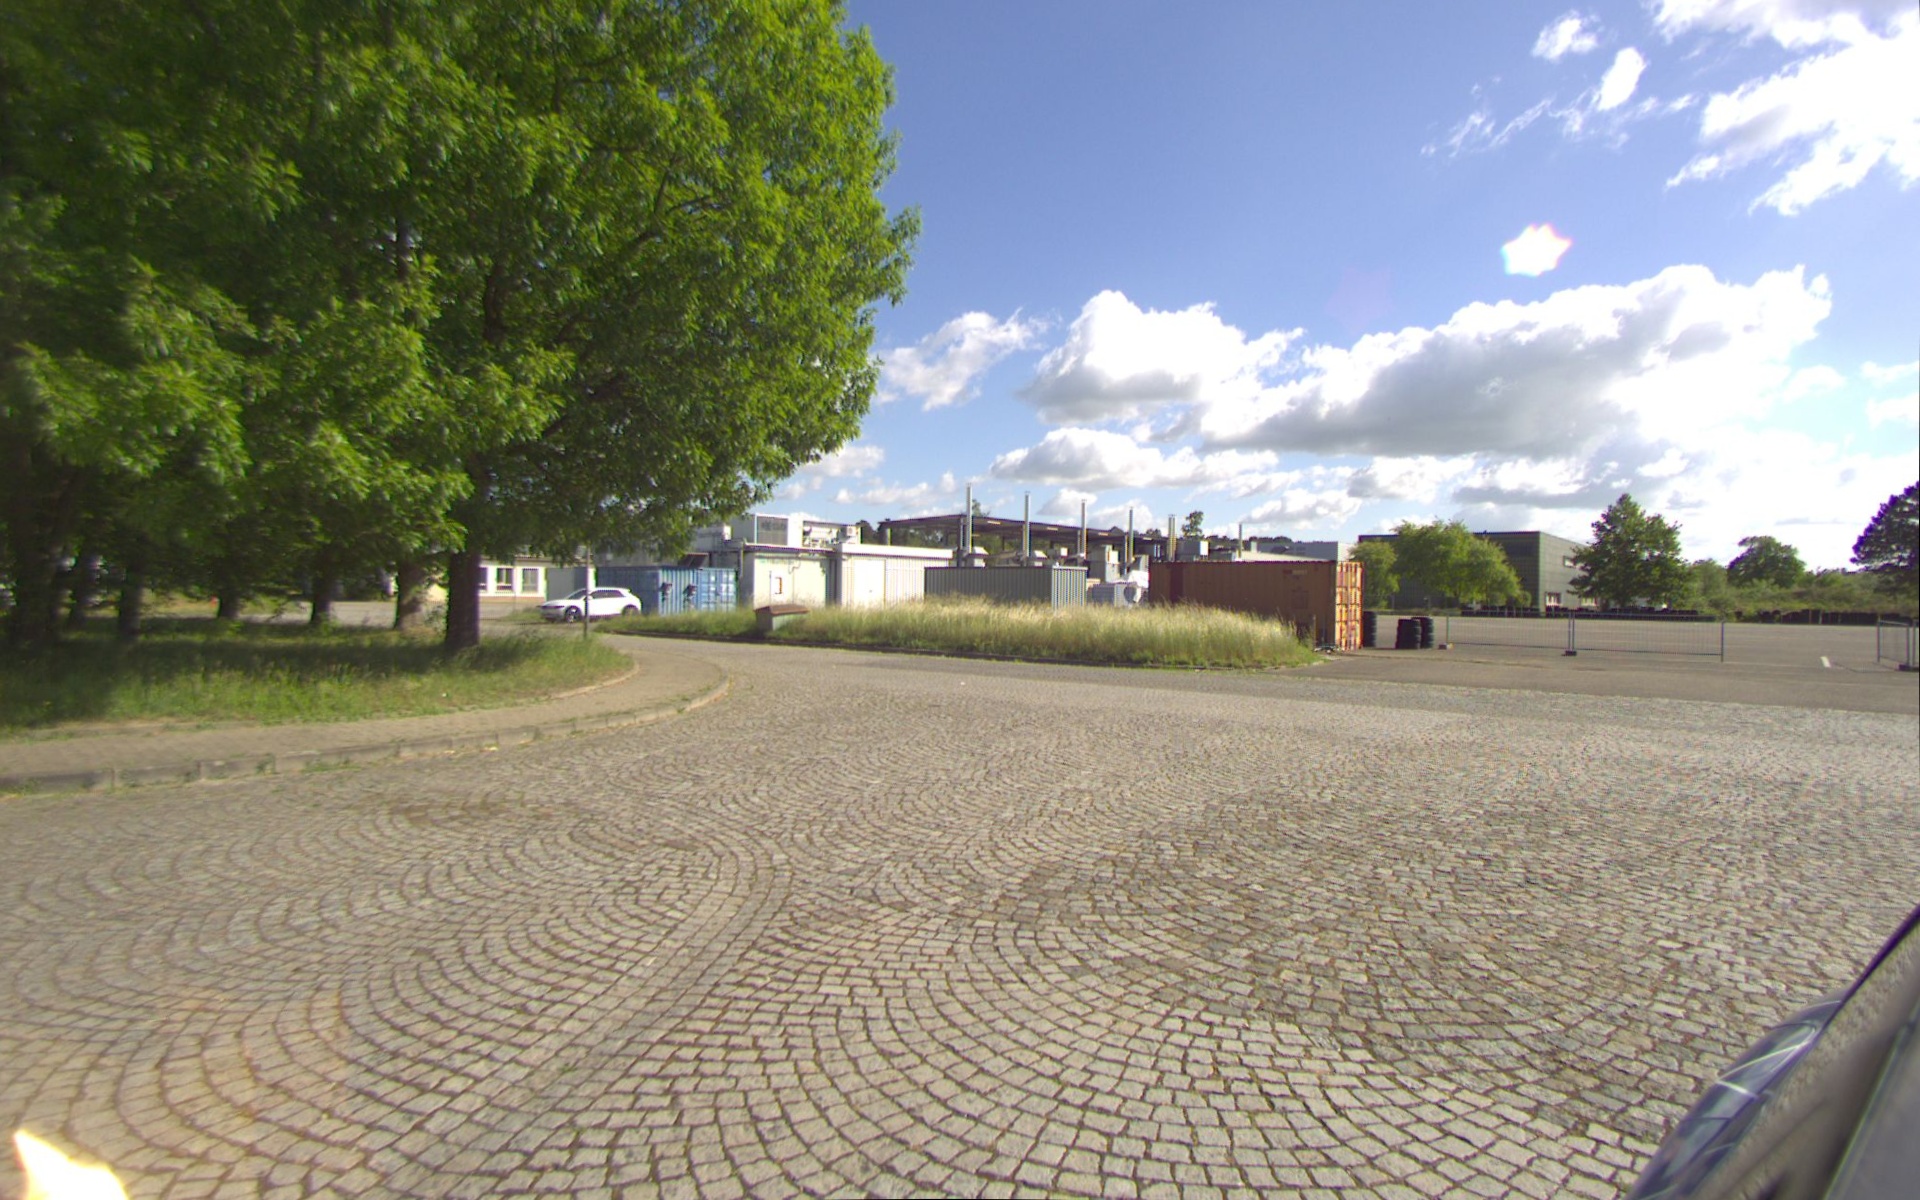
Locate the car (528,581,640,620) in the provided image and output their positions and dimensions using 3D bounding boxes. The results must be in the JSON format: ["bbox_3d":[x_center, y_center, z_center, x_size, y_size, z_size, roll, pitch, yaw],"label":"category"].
[{"bbox_3d":[-17.323,0.015,46.798,1.990,1.668,4.456,1,1,38],"label":"car"}]
